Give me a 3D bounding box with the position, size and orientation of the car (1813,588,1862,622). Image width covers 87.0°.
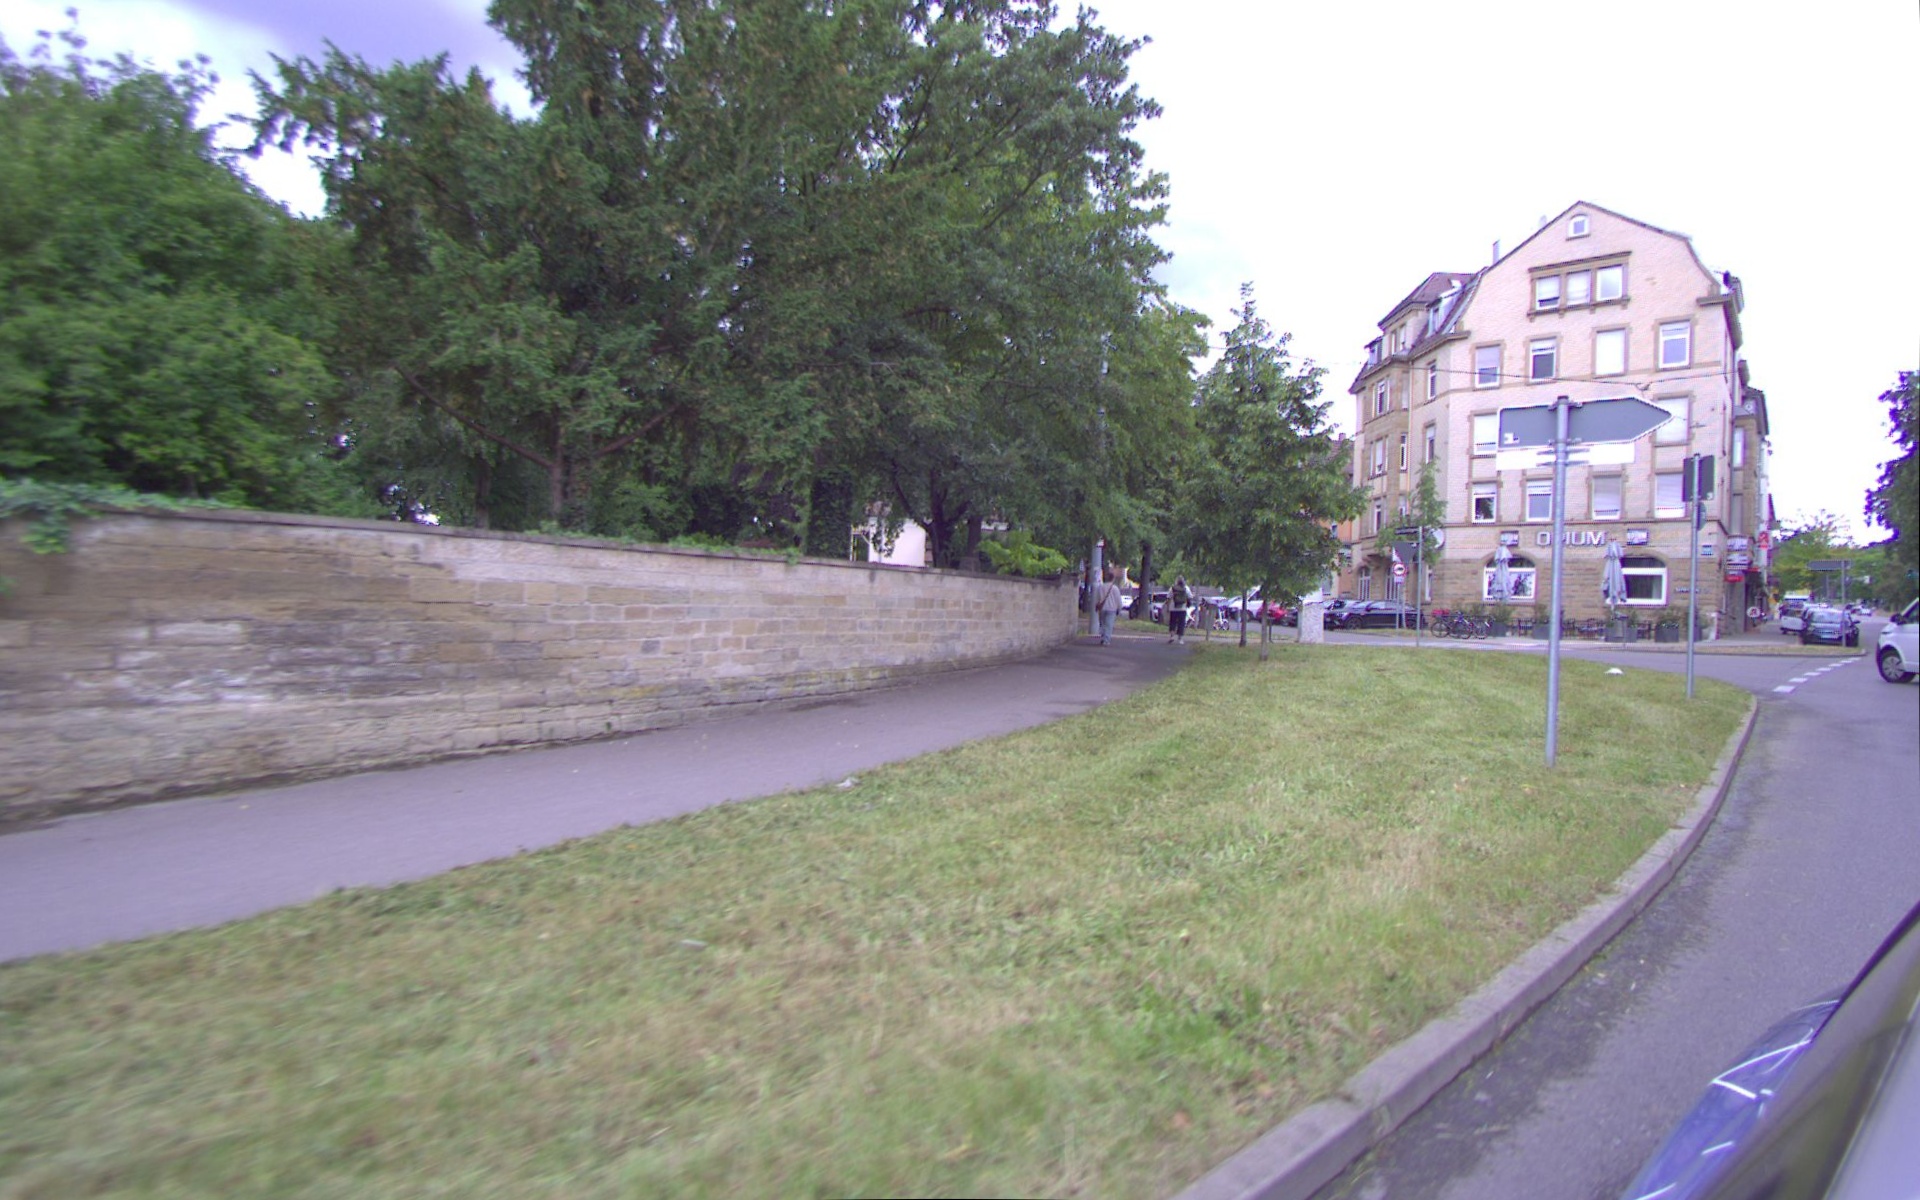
[{"bbox_3d":[47.194,0.261,54.503,1.675,1.684,4.482,3,2,37],"label":"car"}]

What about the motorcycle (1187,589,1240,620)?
[{"bbox_3d":[10.156,0.199,40.556,1.988,1.184,0.553,-2,-1,38],"label":"motorcycle"}]

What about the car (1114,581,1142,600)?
[{"bbox_3d":[16.506,-0.958,99.756,1.962,1.768,4.000,-1,0,-1],"label":"car"}]

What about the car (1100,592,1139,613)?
[{"bbox_3d":[11.266,0.183,71.744,1.962,1.372,4.243,1,1,-1],"label":"car"}]

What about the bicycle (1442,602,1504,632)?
[{"bbox_3d":[20.213,0.662,39.894,0.589,1.079,2.190,0,2,-31],"label":"bicycle"}]

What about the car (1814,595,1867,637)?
[{"bbox_3d":[35.988,0.620,41.393,1.564,1.630,3.600,2,1,41],"label":"car"}]

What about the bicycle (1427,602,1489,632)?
[{"bbox_3d":[19.408,0.649,39.478,0.589,1.079,2.190,0,2,-31],"label":"bicycle"}]

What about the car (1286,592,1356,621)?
[{"bbox_3d":[19.122,0.336,53.665,3.113,1.419,1.475,-1,0,-9],"label":"car"}]

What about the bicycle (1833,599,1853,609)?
[{"bbox_3d":[91.539,0.433,104.905,0.361,1.004,1.724,1,2,-8],"label":"bicycle"}]

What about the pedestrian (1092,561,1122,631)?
[{"bbox_3d":[3.447,-0.095,23.732,0.573,1.604,0.573,3,1,13],"label":"pedestrian"}]

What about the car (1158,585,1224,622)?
[{"bbox_3d":[10.040,0.107,44.303,1.777,1.517,4.280,1,1,-2],"label":"car"}]

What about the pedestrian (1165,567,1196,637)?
[{"bbox_3d":[5.635,0.053,25.902,0.700,1.756,0.659,1,0,8],"label":"pedestrian"}]

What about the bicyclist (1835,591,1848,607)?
[{"bbox_3d":[91.540,-0.146,105.059,0.668,1.649,0.752,0,-1,-8],"label":"bicyclist"}]

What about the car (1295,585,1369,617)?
[{"bbox_3d":[18.700,0.048,50.884,3.095,1.555,1.551,0,-1,-9],"label":"car"}]

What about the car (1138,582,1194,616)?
[{"bbox_3d":[10.217,-0.056,50.462,1.963,1.616,4.370,-1,0,2],"label":"car"}]

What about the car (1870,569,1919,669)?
[{"bbox_3d":[19.435,0.357,18.340,2.180,1.956,5.215,-1,0,15],"label":"car"}]

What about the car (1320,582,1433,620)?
[{"bbox_3d":[18.977,0.023,46.175,4.285,1.616,2.002,1,1,-5],"label":"car"}]

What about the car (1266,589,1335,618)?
[{"bbox_3d":[18.700,0.186,55.630,3.228,1.455,1.550,-1,0,-6],"label":"car"}]

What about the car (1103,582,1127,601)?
[{"bbox_3d":[15.936,-0.890,104.090,1.698,1.836,3.873,-1,0,-1],"label":"car"}]

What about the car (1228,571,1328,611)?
[{"bbox_3d":[19.206,-0.532,61.244,5.395,2.320,1.999,1,1,2],"label":"car"}]

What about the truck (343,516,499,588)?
[{"bbox_3d":[-23.298,-2.008,43.850,5.660,2.871,2.220,-1,0,-38],"label":"truck"}]
